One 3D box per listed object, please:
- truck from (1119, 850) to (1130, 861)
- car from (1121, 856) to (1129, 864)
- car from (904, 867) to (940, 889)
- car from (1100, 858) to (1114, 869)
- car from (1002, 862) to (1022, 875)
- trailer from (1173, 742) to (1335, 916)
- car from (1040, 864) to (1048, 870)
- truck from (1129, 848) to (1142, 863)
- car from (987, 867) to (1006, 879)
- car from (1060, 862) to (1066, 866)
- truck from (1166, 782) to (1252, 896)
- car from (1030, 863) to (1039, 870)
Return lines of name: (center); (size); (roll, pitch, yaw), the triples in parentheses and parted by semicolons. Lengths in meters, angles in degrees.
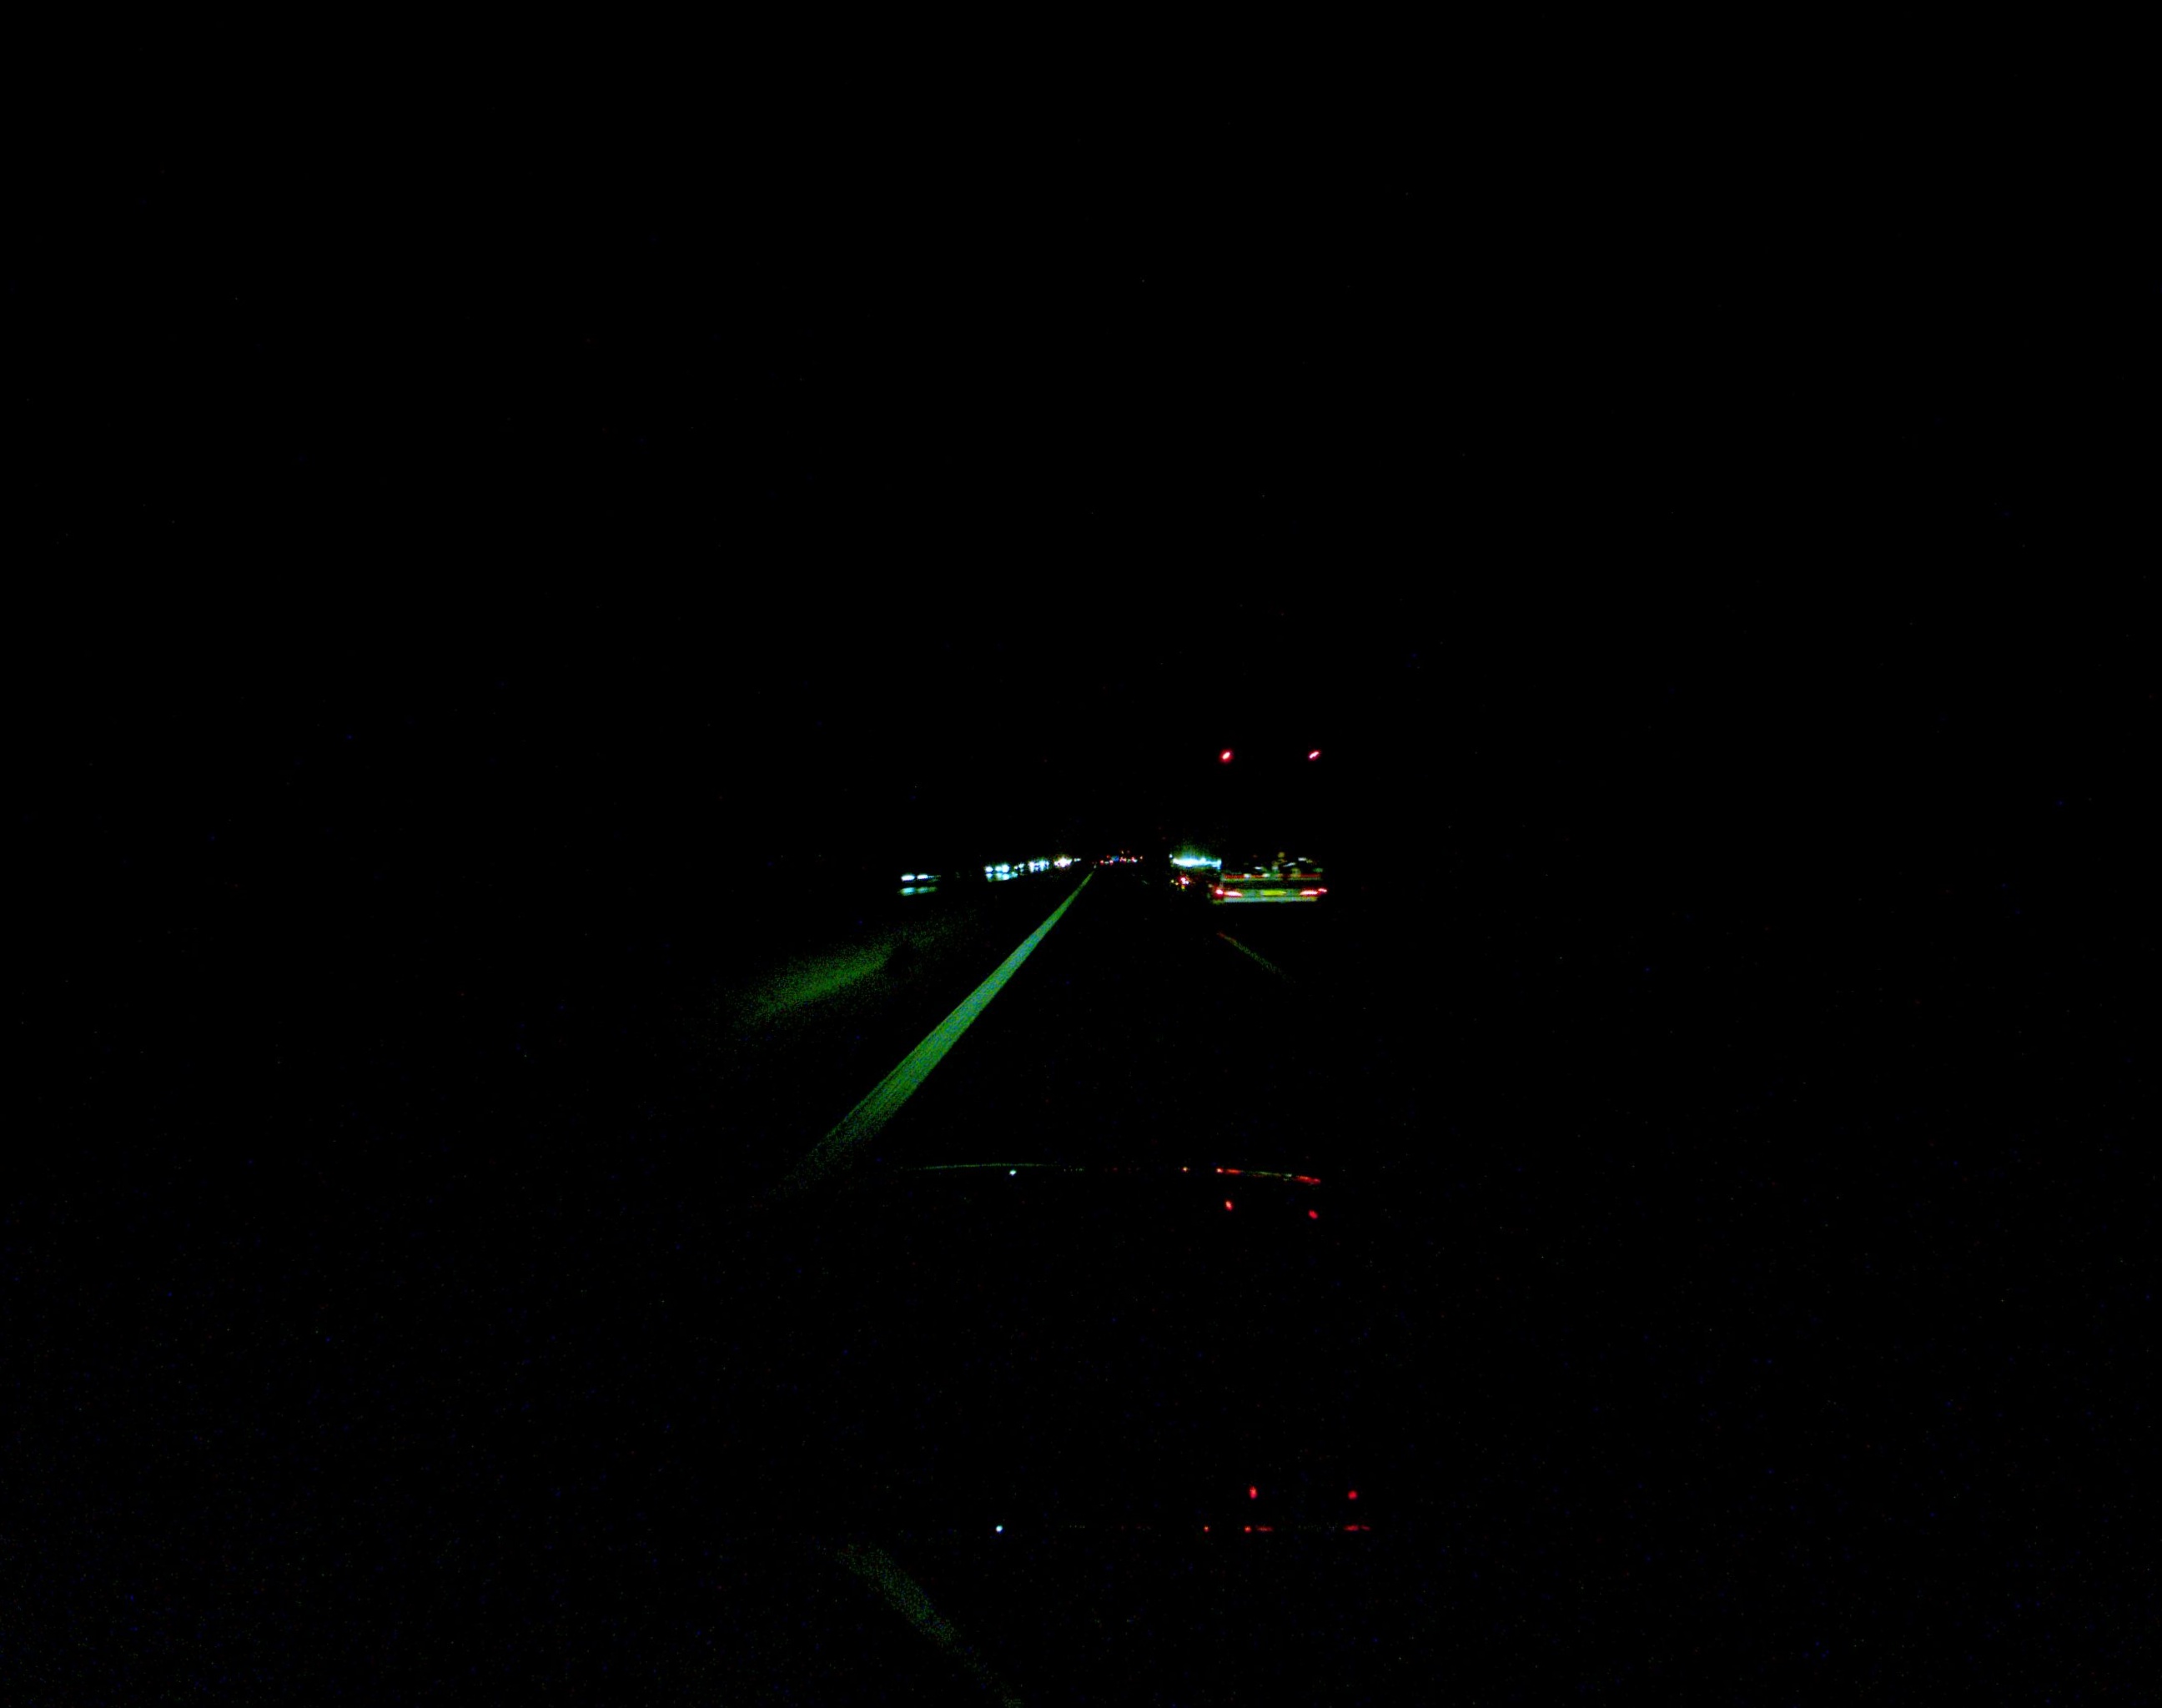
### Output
truck: (13.323, 0.504, 249.025); (3.034, 3.325, 10.141); (0, 0, 1)
car: (8.425, 1.164, 155.005); (1.341, 1.387, 3.501); (0, 0, 1)
car: (-12.569, 1.878, 64.759); (1.744, 1.478, 4.943); (-3, 0, 1)
car: (3.559, 1.314, 110.764); (1.815, 1.466, 4.248); (0, 0, 1)
car: (-8.440, 1.751, 99.944); (1.744, 1.478, 4.765); (-3, 0, 2)
trailer: (4.921, -0.572, 26.408); (2.732, 4.206, 13.514); (0, 0, 1)
car: (-9.706, 3.451, 212.674); (1.626, 1.394, 4.877); (-3, 0, 0)
truck: (11.445, 0.329, 172.567); (2.071, 2.691, 7.302); (0, -3, -1)
car: (-11.571, 2.594, 111.811); (1.743, 1.478, 4.484); (-3, 0, 3)
car: (-5.763, 3.168, 256.619); (1.745, 1.478, 4.581); (1, 0, 0)
truck: (5.066, -0.525, 33.387); (2.652, 4.206, 6.724); (0, 0, 1)
car: (-10.199, 2.797, 179.196); (1.657, 1.334, 4.808); (-3, 0, 0)
